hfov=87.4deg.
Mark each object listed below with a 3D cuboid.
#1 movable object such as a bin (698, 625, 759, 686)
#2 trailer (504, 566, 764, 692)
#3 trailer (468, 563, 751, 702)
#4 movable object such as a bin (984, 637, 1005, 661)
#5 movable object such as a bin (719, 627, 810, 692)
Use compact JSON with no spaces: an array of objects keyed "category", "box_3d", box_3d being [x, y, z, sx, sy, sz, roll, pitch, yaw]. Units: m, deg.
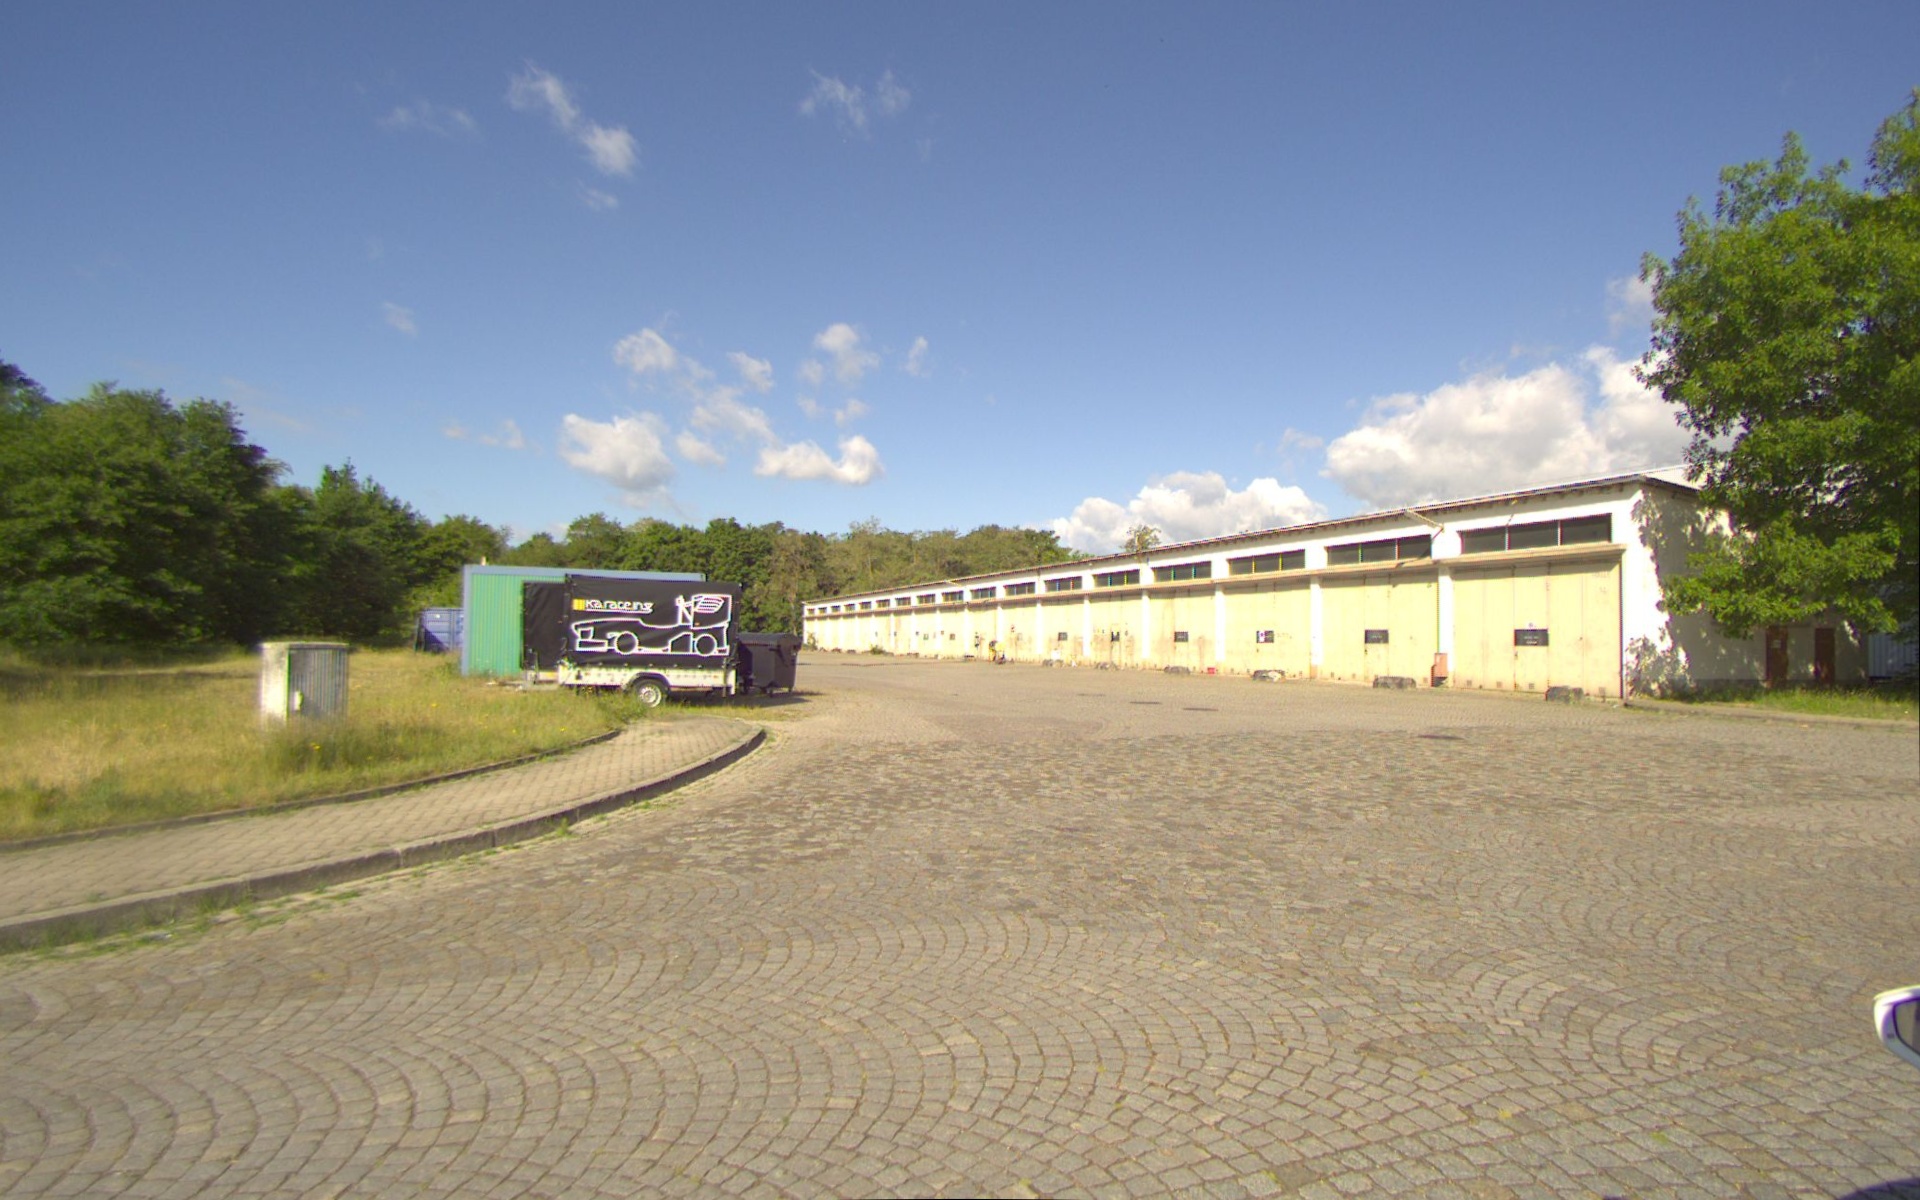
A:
[{"category":"movable object such as a bin","box_3d":[-5.750,1.365,24.898,1.280,1.441,1.529,2,-2,-20]},{"category":"trailer","box_3d":[-6.796,0.656,20.983,4.908,2.385,2.083,2,-2,-25]},{"category":"trailer","box_3d":[-6.369,0.647,18.573,4.600,2.328,2.127,2,-2,-20]},{"category":"movable object such as a bin","box_3d":[2.008,2.845,58.405,0.865,1.419,1.096,2,-2,-22]},{"category":"movable object such as a bin","box_3d":[-4.485,1.351,23.107,1.507,1.404,1.385,0,-2,25]}]
